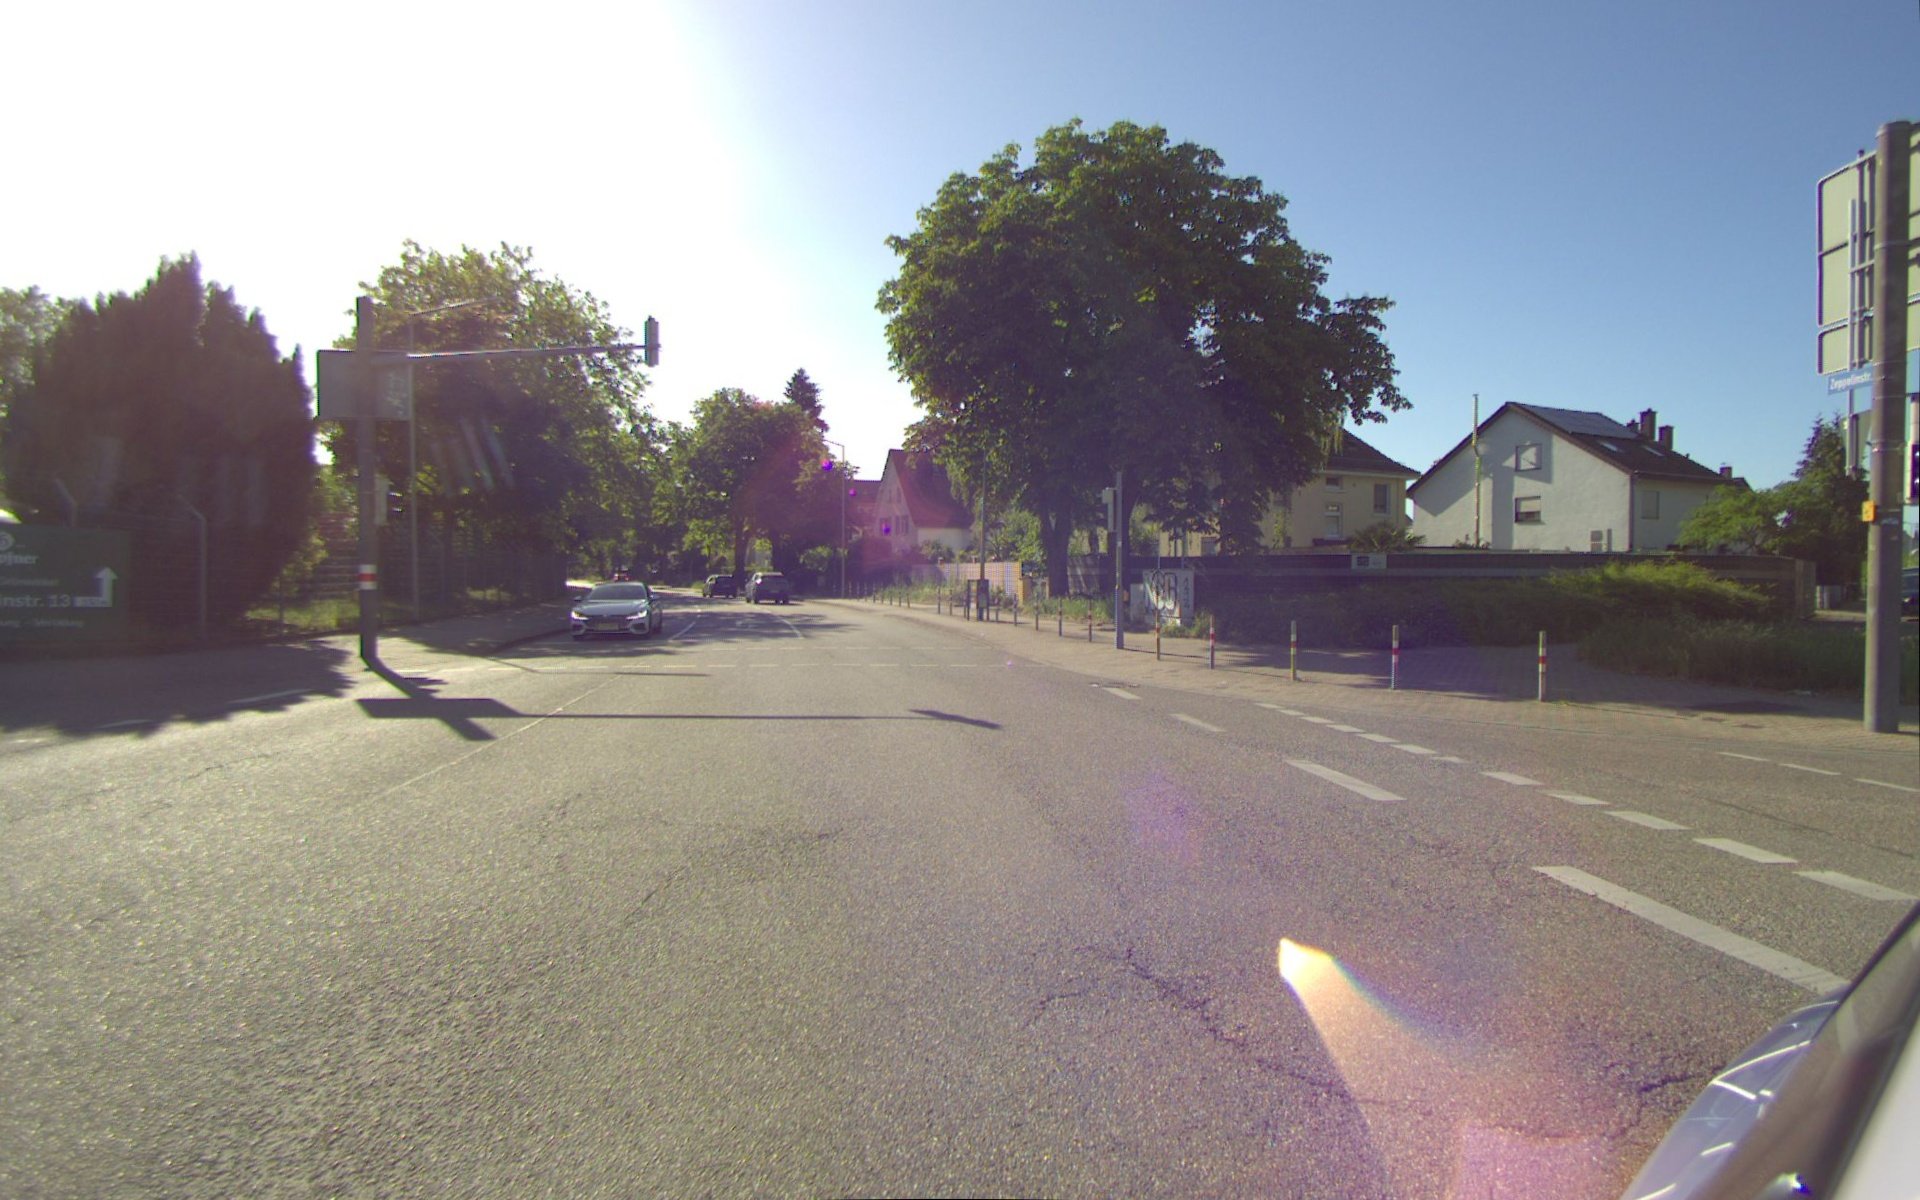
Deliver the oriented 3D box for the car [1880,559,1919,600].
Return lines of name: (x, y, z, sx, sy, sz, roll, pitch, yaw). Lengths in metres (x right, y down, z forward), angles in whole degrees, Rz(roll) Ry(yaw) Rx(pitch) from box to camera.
car: (41.513, -0.899, 43.898, 3.931, 1.687, 1.960, -1, 2, -42)

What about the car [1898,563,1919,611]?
car: (33.093, -0.459, 33.972, 3.931, 1.576, 1.996, -1, 1, -42)

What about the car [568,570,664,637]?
car: (-8.671, 0.021, 25.845, 1.773, 1.551, 4.524, 0, 2, -12)

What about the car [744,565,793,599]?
car: (-10.012, -0.946, 52.610, 1.823, 1.655, 4.266, 0, 1, -20)
